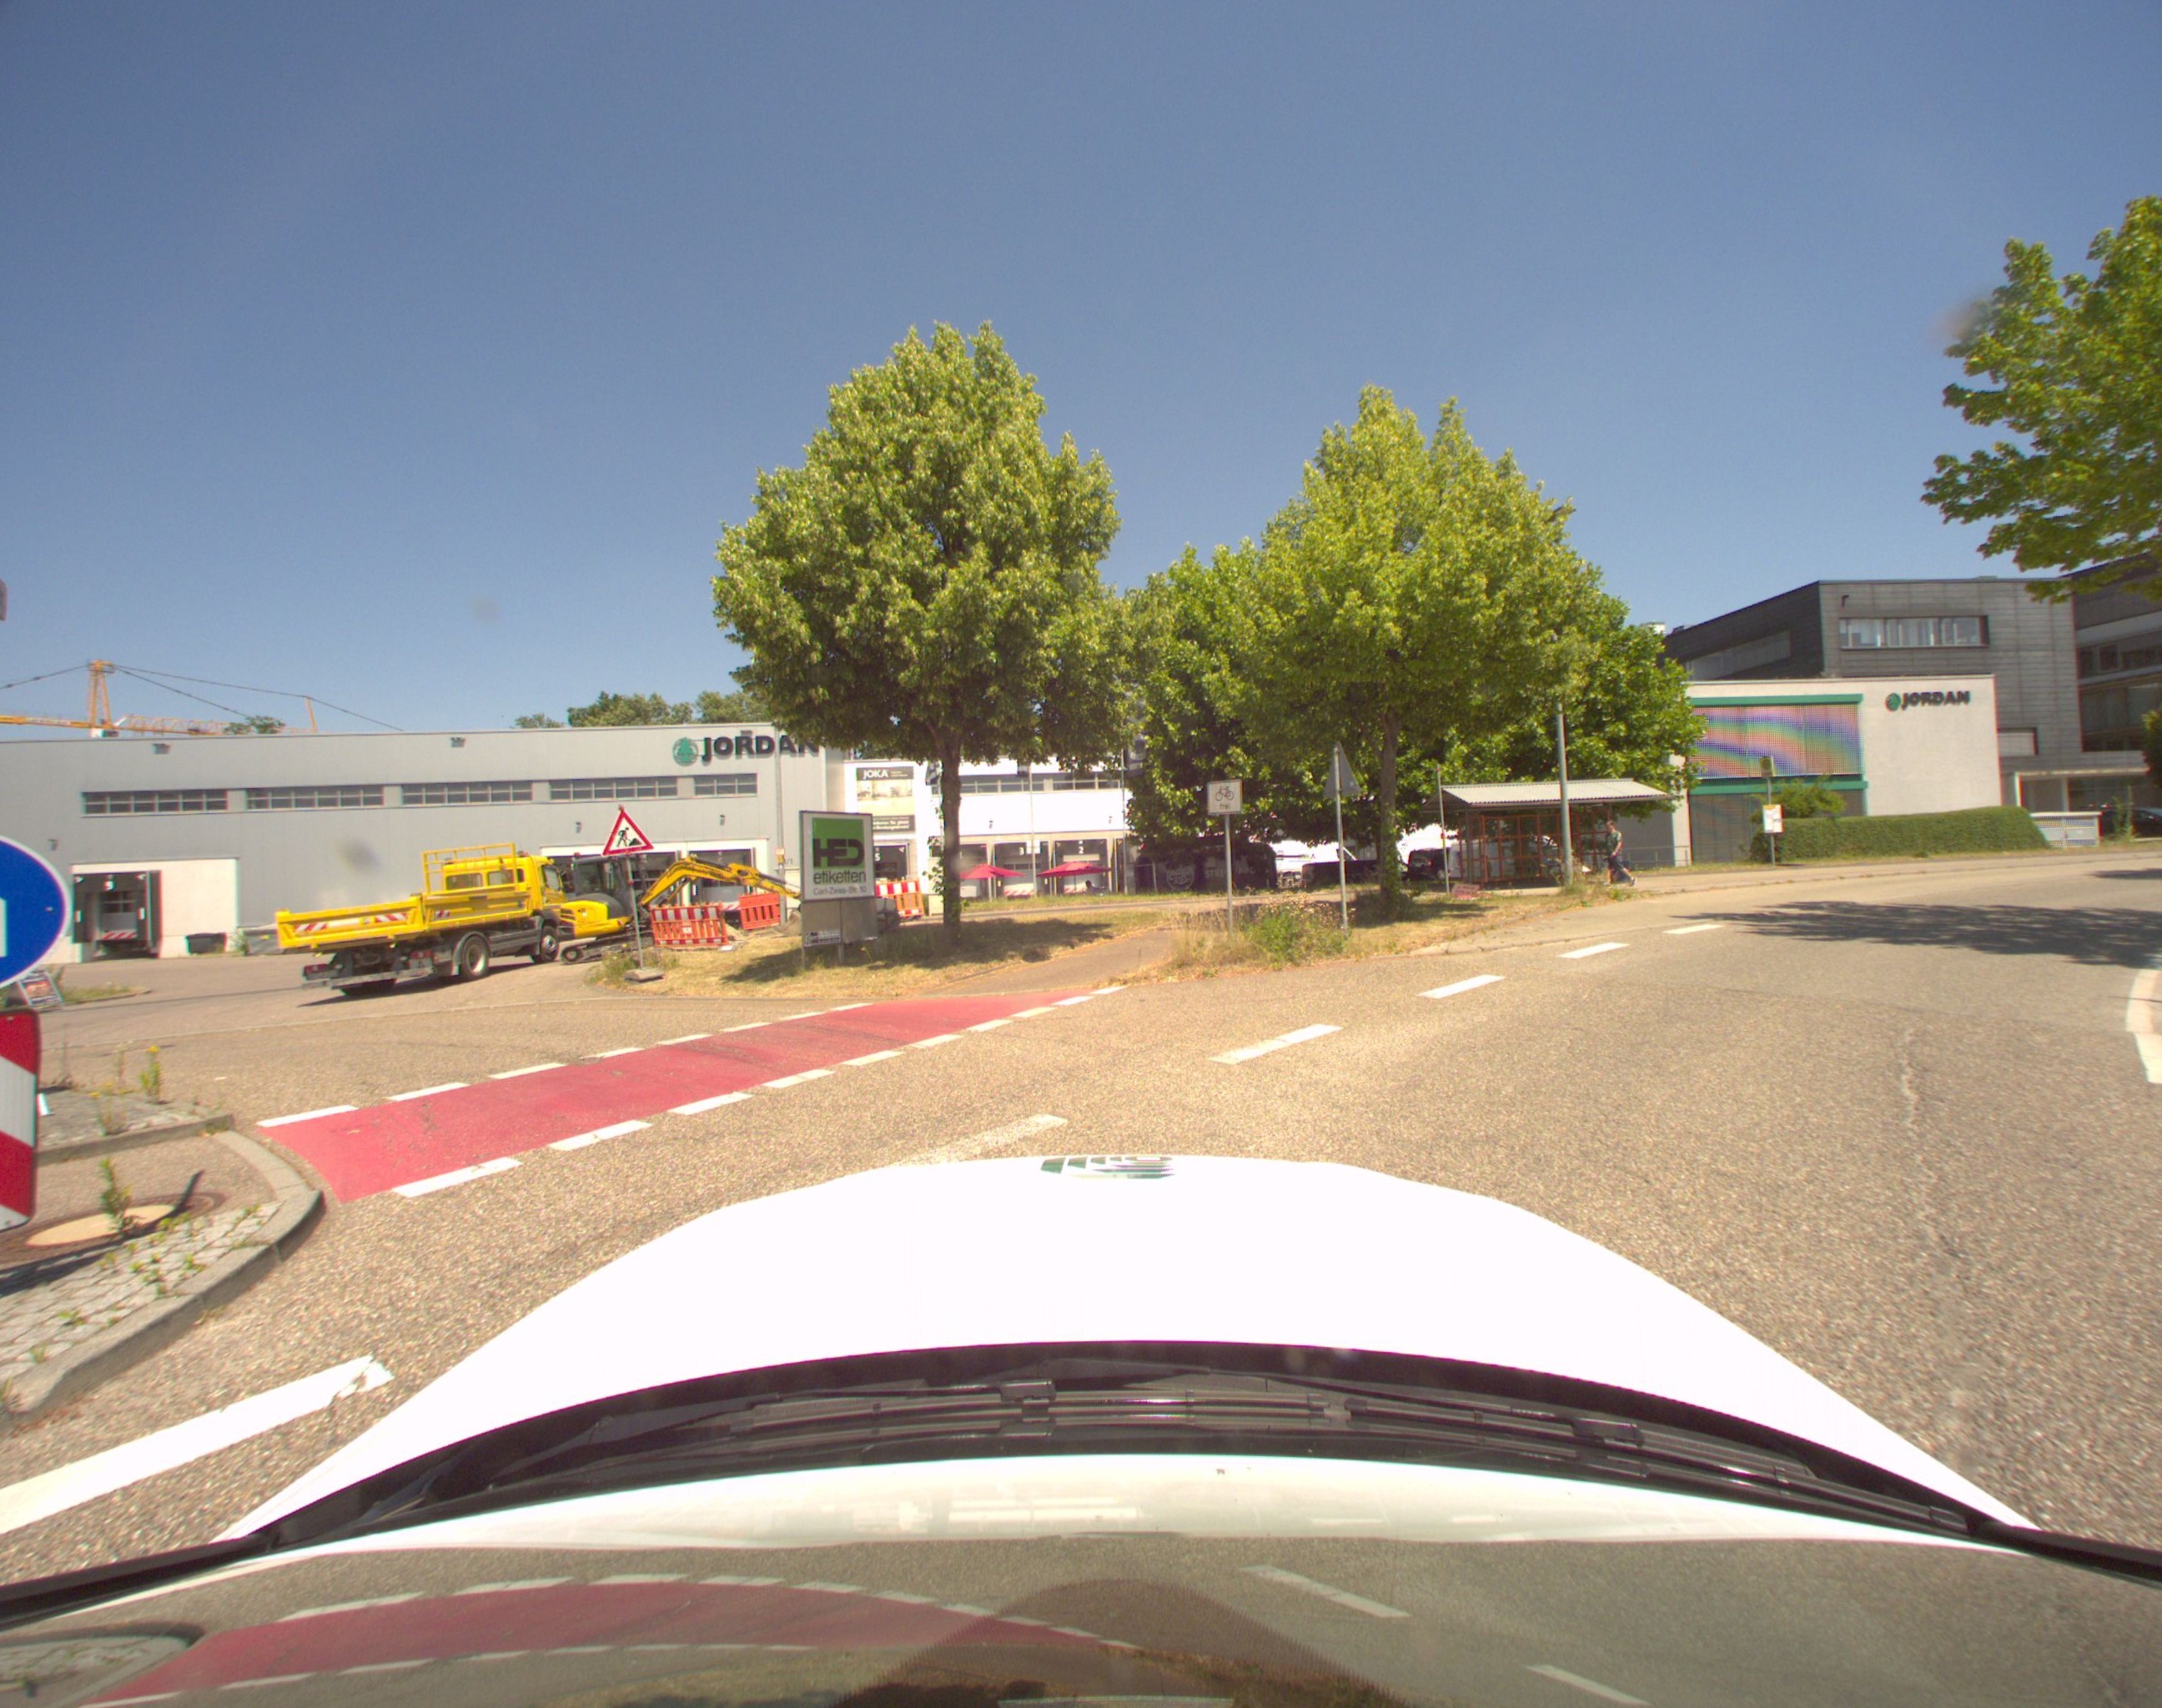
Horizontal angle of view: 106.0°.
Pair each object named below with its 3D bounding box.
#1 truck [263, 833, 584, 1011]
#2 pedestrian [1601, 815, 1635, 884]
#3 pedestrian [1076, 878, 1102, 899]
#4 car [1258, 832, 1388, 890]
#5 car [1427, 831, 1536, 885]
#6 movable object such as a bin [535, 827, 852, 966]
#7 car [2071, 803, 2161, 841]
[{"bbox_3d":[-14.496,1.270,18.785,2.587,3.135,6.405,-6,1,-8],"label":"truck"},{"bbox_3d":[13.223,-0.097,20.059,0.524,1.670,0.582,-2,-3,23],"label":"pedestrian"},{"bbox_3d":[0.301,1.292,30.609,0.857,0.695,0.410,-5,-2,18],"label":"pedestrian"},{"bbox_3d":[8.616,0.265,29.191,3.978,1.728,1.838,-4,-2,-3],"label":"car"},{"bbox_3d":[16.363,0.221,33.492,1.547,2.014,4.242,0,-3,-15],"label":"car"},{"bbox_3d":[-9.196,1.010,19.734,6.536,2.581,1.999,-5,-2,0],"label":"movable object such as a bin"},{"bbox_3d":[44.336,-1.385,33.705,1.698,1.379,3.910,-4,-2,-6],"label":"car"}]
